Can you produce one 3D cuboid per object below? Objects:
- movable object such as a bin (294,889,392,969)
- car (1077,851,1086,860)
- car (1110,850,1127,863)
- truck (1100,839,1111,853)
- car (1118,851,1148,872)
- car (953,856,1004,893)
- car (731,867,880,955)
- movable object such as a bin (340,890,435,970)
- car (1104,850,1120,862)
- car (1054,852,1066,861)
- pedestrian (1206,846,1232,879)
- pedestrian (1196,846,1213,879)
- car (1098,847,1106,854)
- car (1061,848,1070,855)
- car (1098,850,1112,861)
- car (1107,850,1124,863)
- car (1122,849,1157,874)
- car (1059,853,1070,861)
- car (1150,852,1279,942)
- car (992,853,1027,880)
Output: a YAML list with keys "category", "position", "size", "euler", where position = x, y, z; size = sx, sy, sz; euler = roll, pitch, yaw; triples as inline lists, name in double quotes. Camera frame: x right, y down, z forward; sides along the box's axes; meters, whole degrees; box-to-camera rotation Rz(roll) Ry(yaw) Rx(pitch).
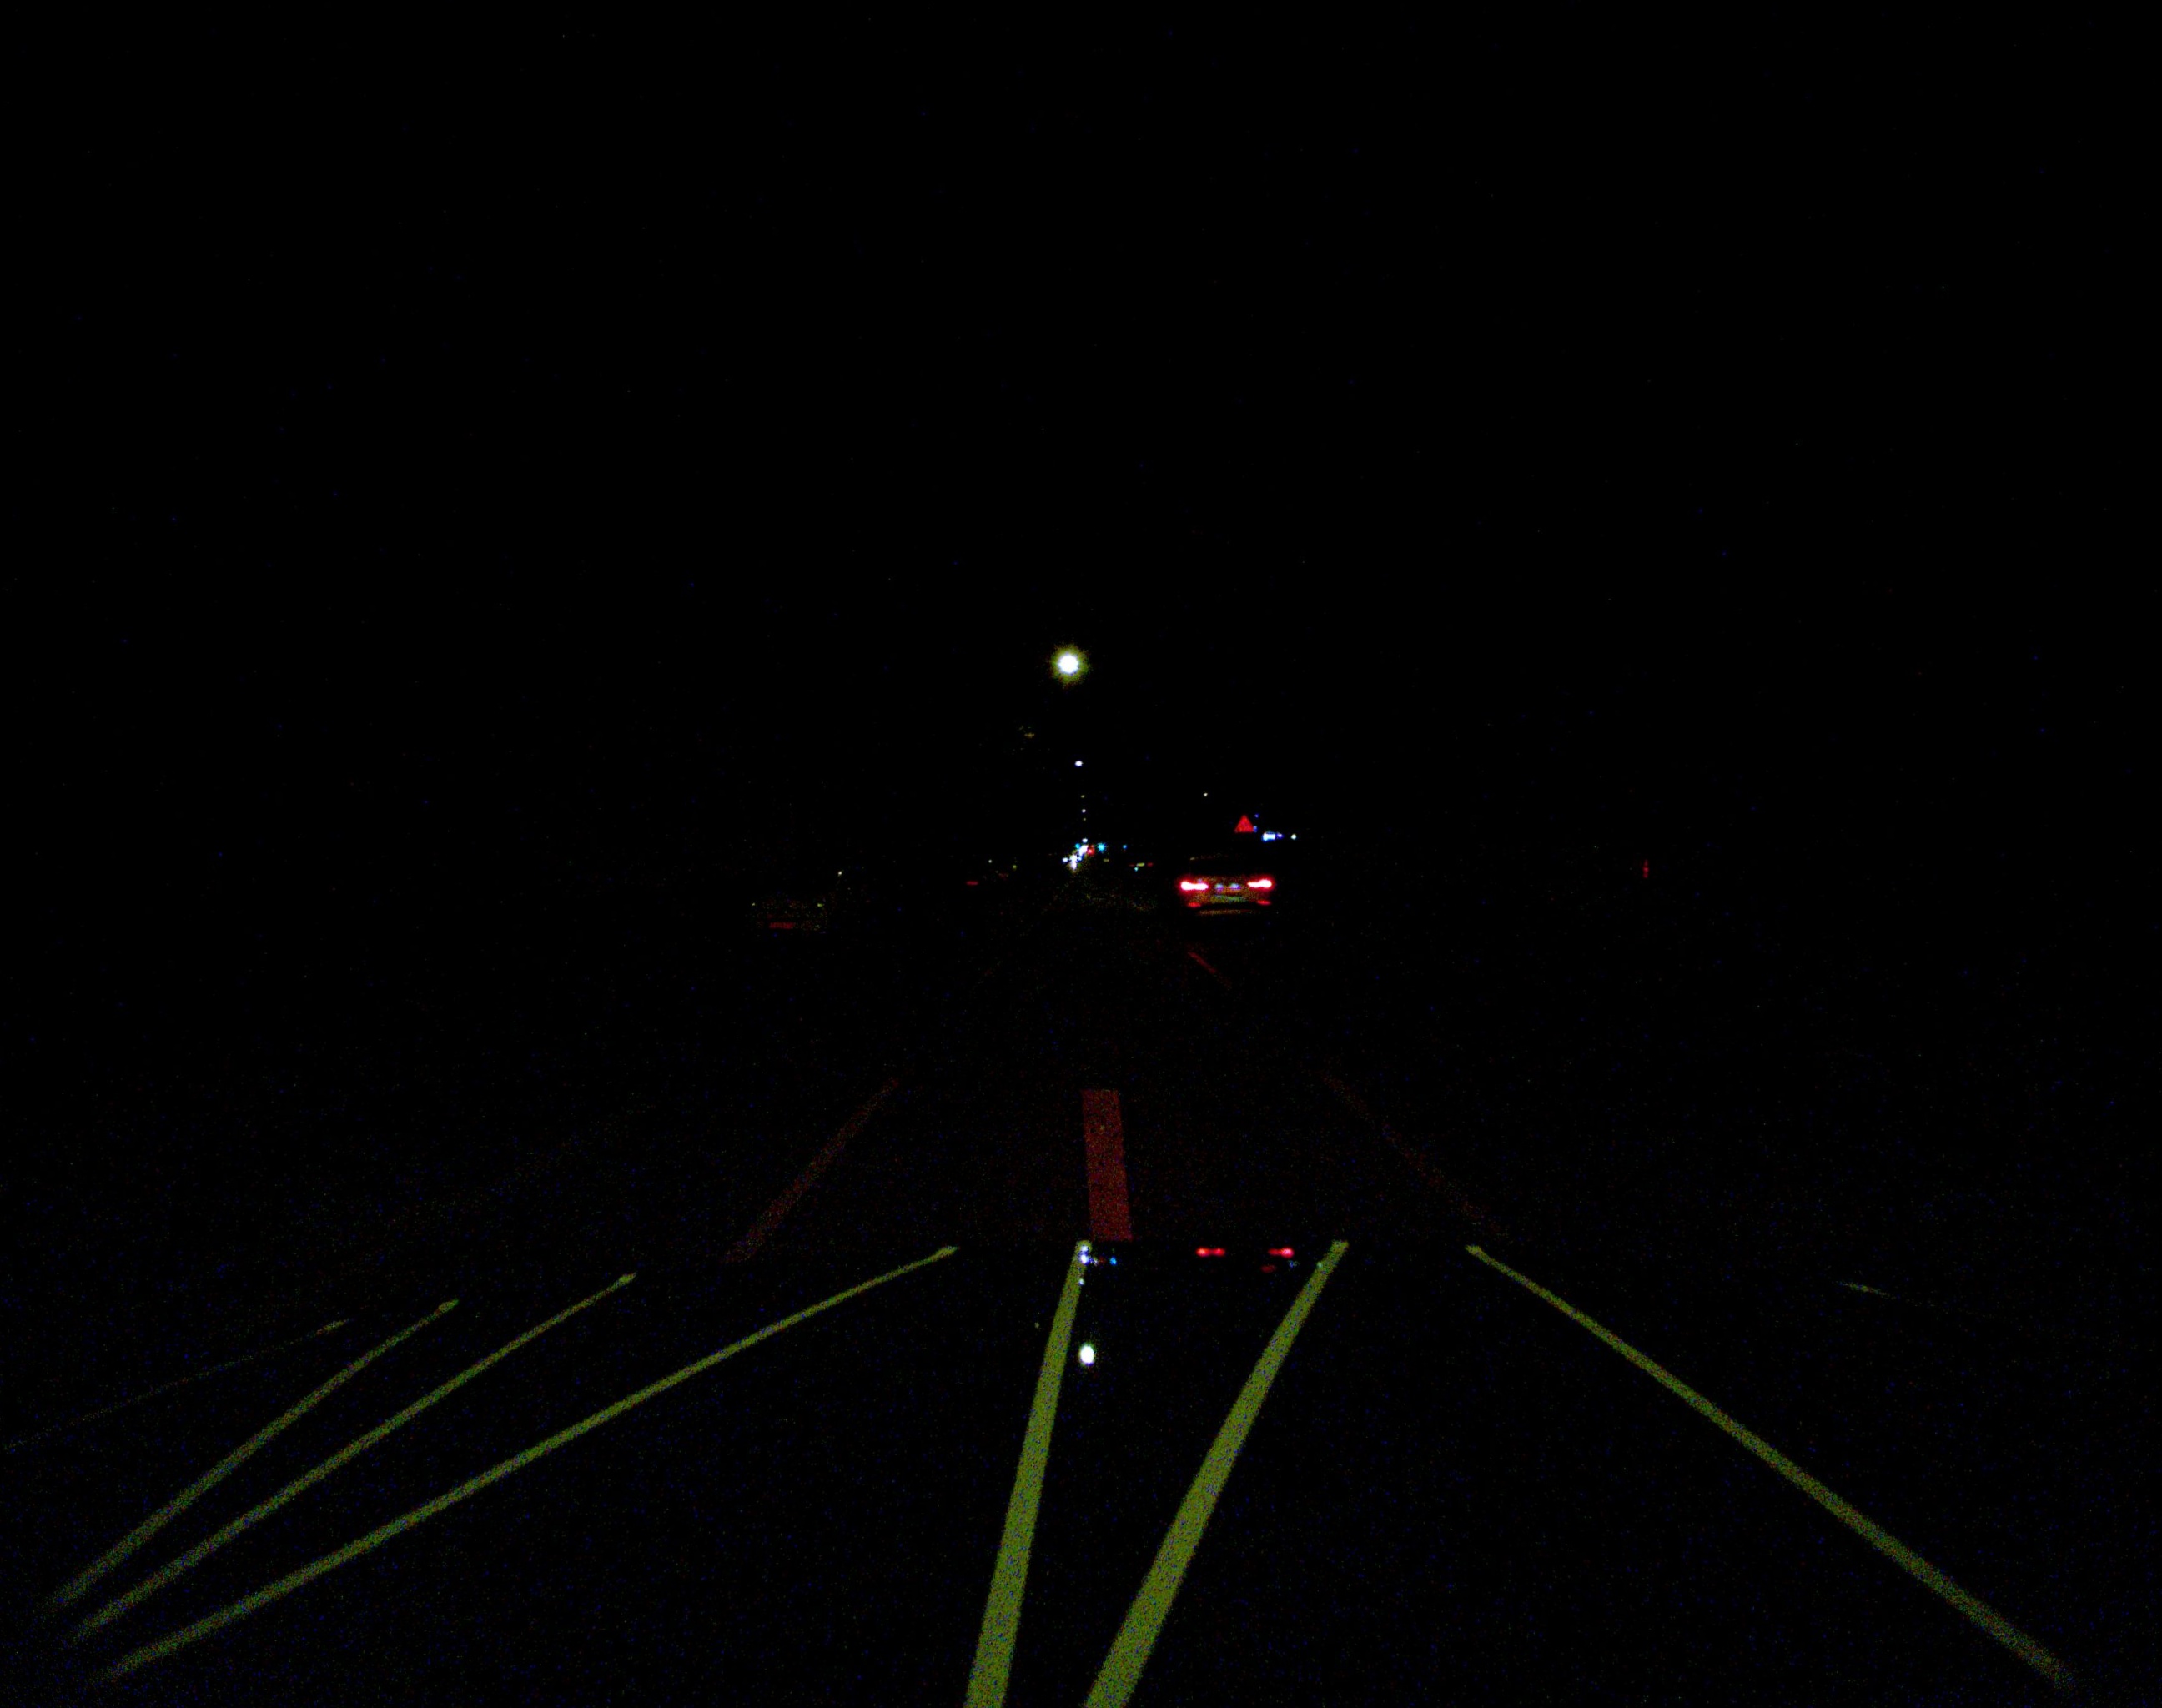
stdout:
- category: "movable object such as a bin"
  position: [-10.534, 1.052, 10.875]
  size: [0.609, 1.042, 0.755]
  euler: [-2, 1, 1]
- category: "car"
  position: [0.109, 0.323, 152.909]
  size: [1.874, 1.635, 3.999]
  euler: [-2, 0, 0]
- category: "car"
  position: [4.970, 0.324, 100.868]
  size: [1.874, 1.635, 3.999]
  euler: [-2, 0, -3]
- category: "truck"
  position: [4.970, -1.629, 155.507]
  size: [2.084, 2.562, 6.873]
  euler: [-2, 0, 1]
- category: "car"
  position: [3.896, 0.557, 57.843]
  size: [1.864, 1.458, 3.896]
  euler: [-4, 0, -1]
- category: "car"
  position: [-4.564, 0.869, 34.287]
  size: [1.865, 1.544, 4.044]
  euler: [0, 0, -1]
- category: "car"
  position: [-5.331, 1.029, 15.201]
  size: [1.672, 1.476, 3.603]
  euler: [0, 0, 0]
- category: "movable object such as a bin"
  position: [-9.885, 1.069, 10.853]
  size: [0.609, 1.042, 0.755]
  euler: [-2, 1, 1]
- category: "car"
  position: [4.446, 0.293, 110.062]
  size: [1.874, 1.635, 3.999]
  euler: [-2, 0, -3]
- category: "car"
  position: [-3.576, 0.390, 129.019]
  size: [1.874, 1.407, 3.999]
  euler: [-2, 0, 0]
- category: "pedestrian"
  position: [7.160, 0.432, 39.434]
  size: [1.105, 1.662, 0.742]
  euler: [-3, 2, -38]
- category: "pedestrian"
  position: [6.548, 0.458, 40.218]
  size: [0.670, 1.716, 0.866]
  euler: [-2, 1, -2]
- category: "car"
  position: [5.004, -0.765, 180.312]
  size: [1.873, 1.551, 4.353]
  euler: [-2, 0, 1]
- category: "car"
  position: [-3.316, -0.540, 162.684]
  size: [1.874, 1.407, 3.999]
  euler: [-2, 0, 0]
- category: "car"
  position: [3.732, 0.203, 119.494]
  size: [1.874, 1.635, 3.999]
  euler: [-2, 0, -3]
- category: "car"
  position: [4.728, 0.352, 105.124]
  size: [1.874, 1.635, 3.999]
  euler: [-2, 0, -3]
- category: "car"
  position: [3.974, 0.514, 52.328]
  size: [1.864, 1.524, 4.587]
  euler: [-4, 0, -1]
- category: "car"
  position: [-2.978, 0.565, 134.799]
  size: [1.874, 1.407, 3.999]
  euler: [-2, 0, 0]
- category: "car"
  position: [2.566, 0.767, 15.595]
  size: [1.862, 1.525, 4.027]
  euler: [-2, 0, -1]
- category: "car"
  position: [-4.448, 0.769, 47.808]
  size: [1.742, 1.588, 4.359]
  euler: [0, 0, 1]
